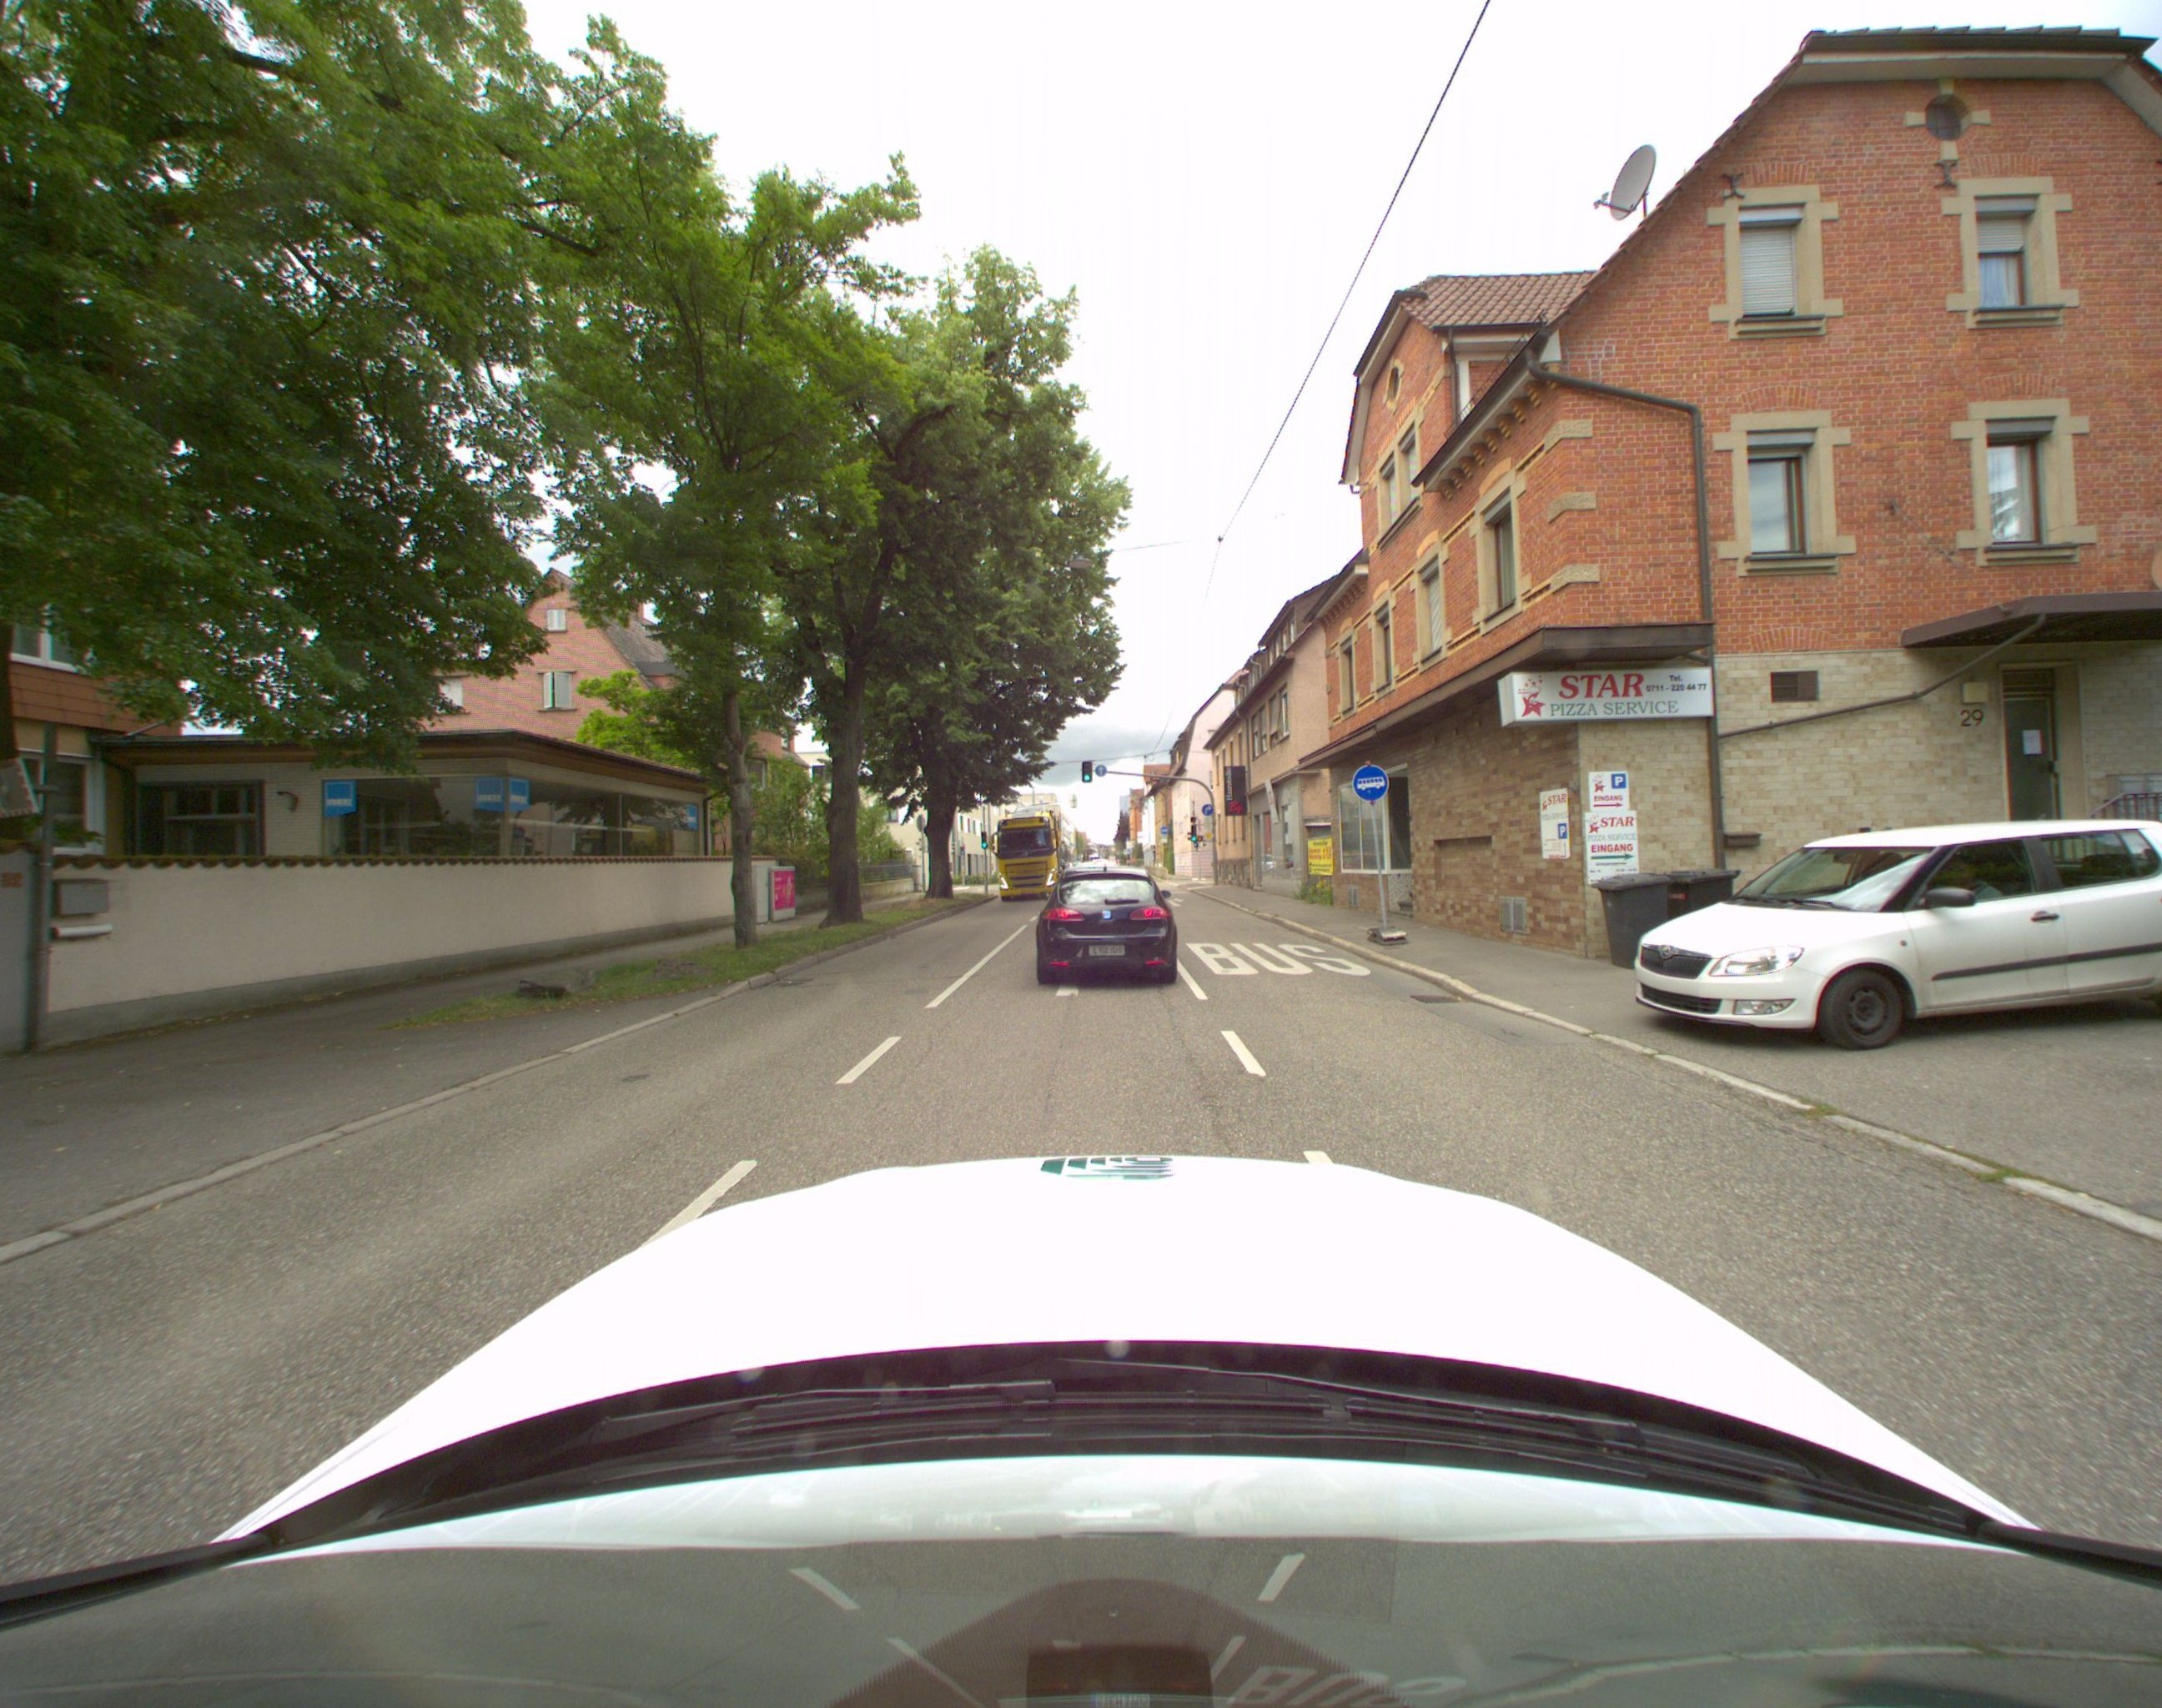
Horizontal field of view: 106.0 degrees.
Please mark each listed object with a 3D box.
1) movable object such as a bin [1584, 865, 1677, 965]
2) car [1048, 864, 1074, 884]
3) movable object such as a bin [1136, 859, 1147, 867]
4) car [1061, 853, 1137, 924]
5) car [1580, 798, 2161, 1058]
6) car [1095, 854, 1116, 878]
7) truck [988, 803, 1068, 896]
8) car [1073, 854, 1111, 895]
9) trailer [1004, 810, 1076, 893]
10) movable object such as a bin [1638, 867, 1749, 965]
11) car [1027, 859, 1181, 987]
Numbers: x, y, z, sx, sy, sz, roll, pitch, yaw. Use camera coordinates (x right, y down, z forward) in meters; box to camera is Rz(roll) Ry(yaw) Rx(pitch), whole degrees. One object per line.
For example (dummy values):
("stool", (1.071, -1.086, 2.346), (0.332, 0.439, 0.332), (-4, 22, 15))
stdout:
("movable object such as a bin", (6.409, 0.692, 9.530), (0.604, 1.101, 0.623), (-4, -1, 1))
("car", (-1.623, 1.669, 67.650), (1.760, 1.470, 4.228), (-5, -1, 2))
("movable object such as a bin", (10.360, 1.533, 138.846), (1.811, 1.437, 1.994), (-1, -1, 2))
("car", (0.480, 0.875, 21.849), (1.836, 1.693, 4.000), (-1, -1, 1))
("car", (6.521, 0.495, 6.499), (4.017, 1.470, 1.600), (-6, -1, -1))
("car", (1.804, 0.887, 60.752), (1.526, 1.693, 3.693), (-1, -1, 1))
("truck", (-2.217, -0.108, 37.169), (2.833, 3.782, 7.672), (-1, -1, 2))
("car", (0.484, 0.867, 35.355), (1.526, 1.693, 3.693), (-1, -1, 1))
("trailer", (-1.954, -0.001, 45.273), (2.847, 3.808, 14.395), (-1, -1, 2))
("movable object such as a bin", (7.180, 0.707, 9.574), (0.696, 1.059, 0.724), (-4, -1, 1))
("car", (0.315, 0.818, 11.312), (1.752, 1.442, 4.001), (-1, -1, 1))
